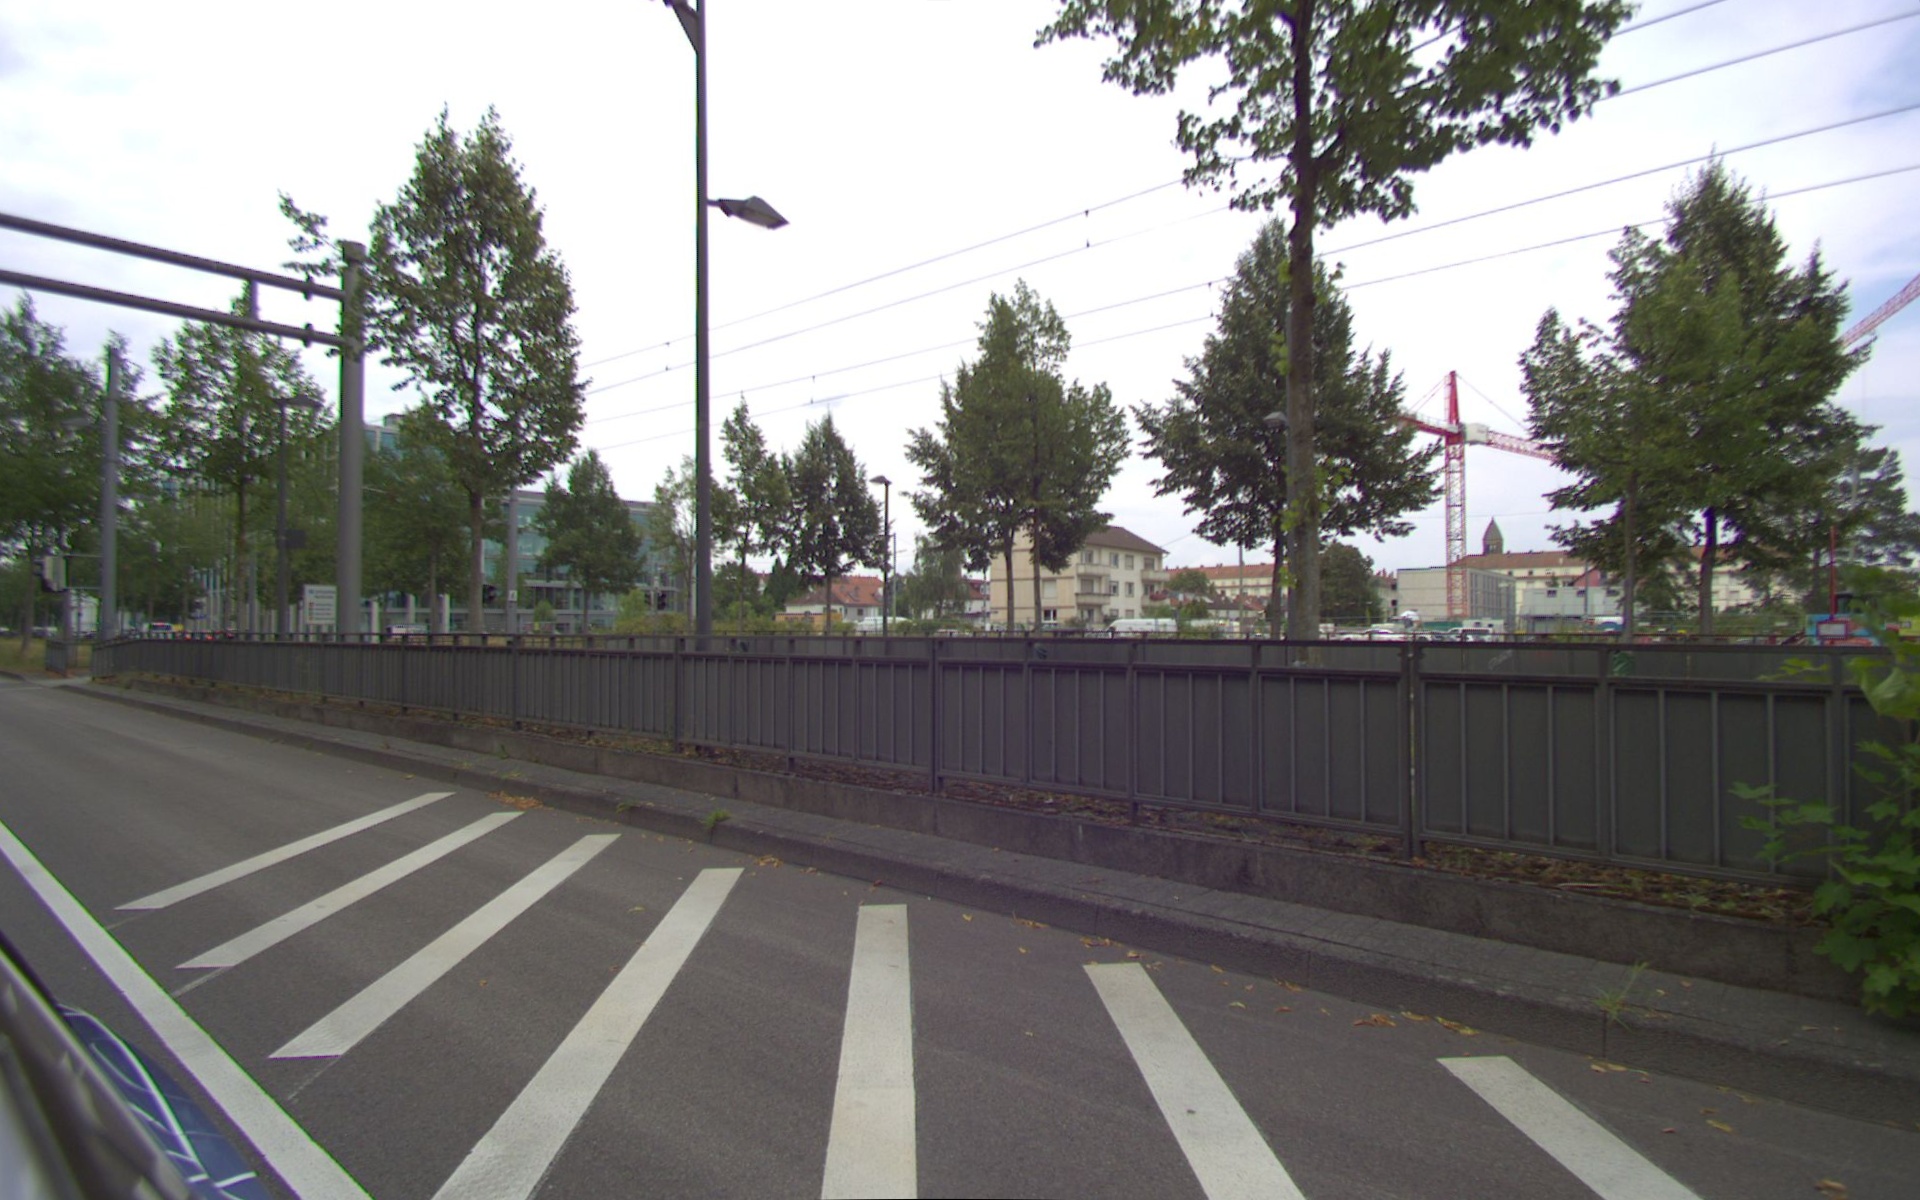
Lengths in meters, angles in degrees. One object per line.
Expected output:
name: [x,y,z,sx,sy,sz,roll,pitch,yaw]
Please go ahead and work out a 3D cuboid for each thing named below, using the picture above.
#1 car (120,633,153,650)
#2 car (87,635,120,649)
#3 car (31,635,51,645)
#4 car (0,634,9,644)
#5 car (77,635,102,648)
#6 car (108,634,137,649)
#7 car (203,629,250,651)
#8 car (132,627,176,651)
car: [-74.928,3.790,92.048,3.863,1.508,1.730,-2,-2,41]
car: [-90.019,4.367,106.343,3.997,1.429,1.973,-2,-2,40]
car: [-130.855,5.687,144.022,3.864,1.468,1.730,-2,-2,42]
car: [-148.603,6.054,156.632,3.864,1.468,1.730,-2,-2,42]
car: [-99.845,4.784,116.039,3.864,1.468,1.730,-2,-2,42]
car: [-82.197,4.077,99.352,3.865,1.468,1.729,-2,-2,43]
car: [-57.213,3.124,78.931,4.686,1.669,1.809,-2,-2,39]
car: [-68.088,3.269,85.455,5.093,1.959,1.973,-2,-2,41]
